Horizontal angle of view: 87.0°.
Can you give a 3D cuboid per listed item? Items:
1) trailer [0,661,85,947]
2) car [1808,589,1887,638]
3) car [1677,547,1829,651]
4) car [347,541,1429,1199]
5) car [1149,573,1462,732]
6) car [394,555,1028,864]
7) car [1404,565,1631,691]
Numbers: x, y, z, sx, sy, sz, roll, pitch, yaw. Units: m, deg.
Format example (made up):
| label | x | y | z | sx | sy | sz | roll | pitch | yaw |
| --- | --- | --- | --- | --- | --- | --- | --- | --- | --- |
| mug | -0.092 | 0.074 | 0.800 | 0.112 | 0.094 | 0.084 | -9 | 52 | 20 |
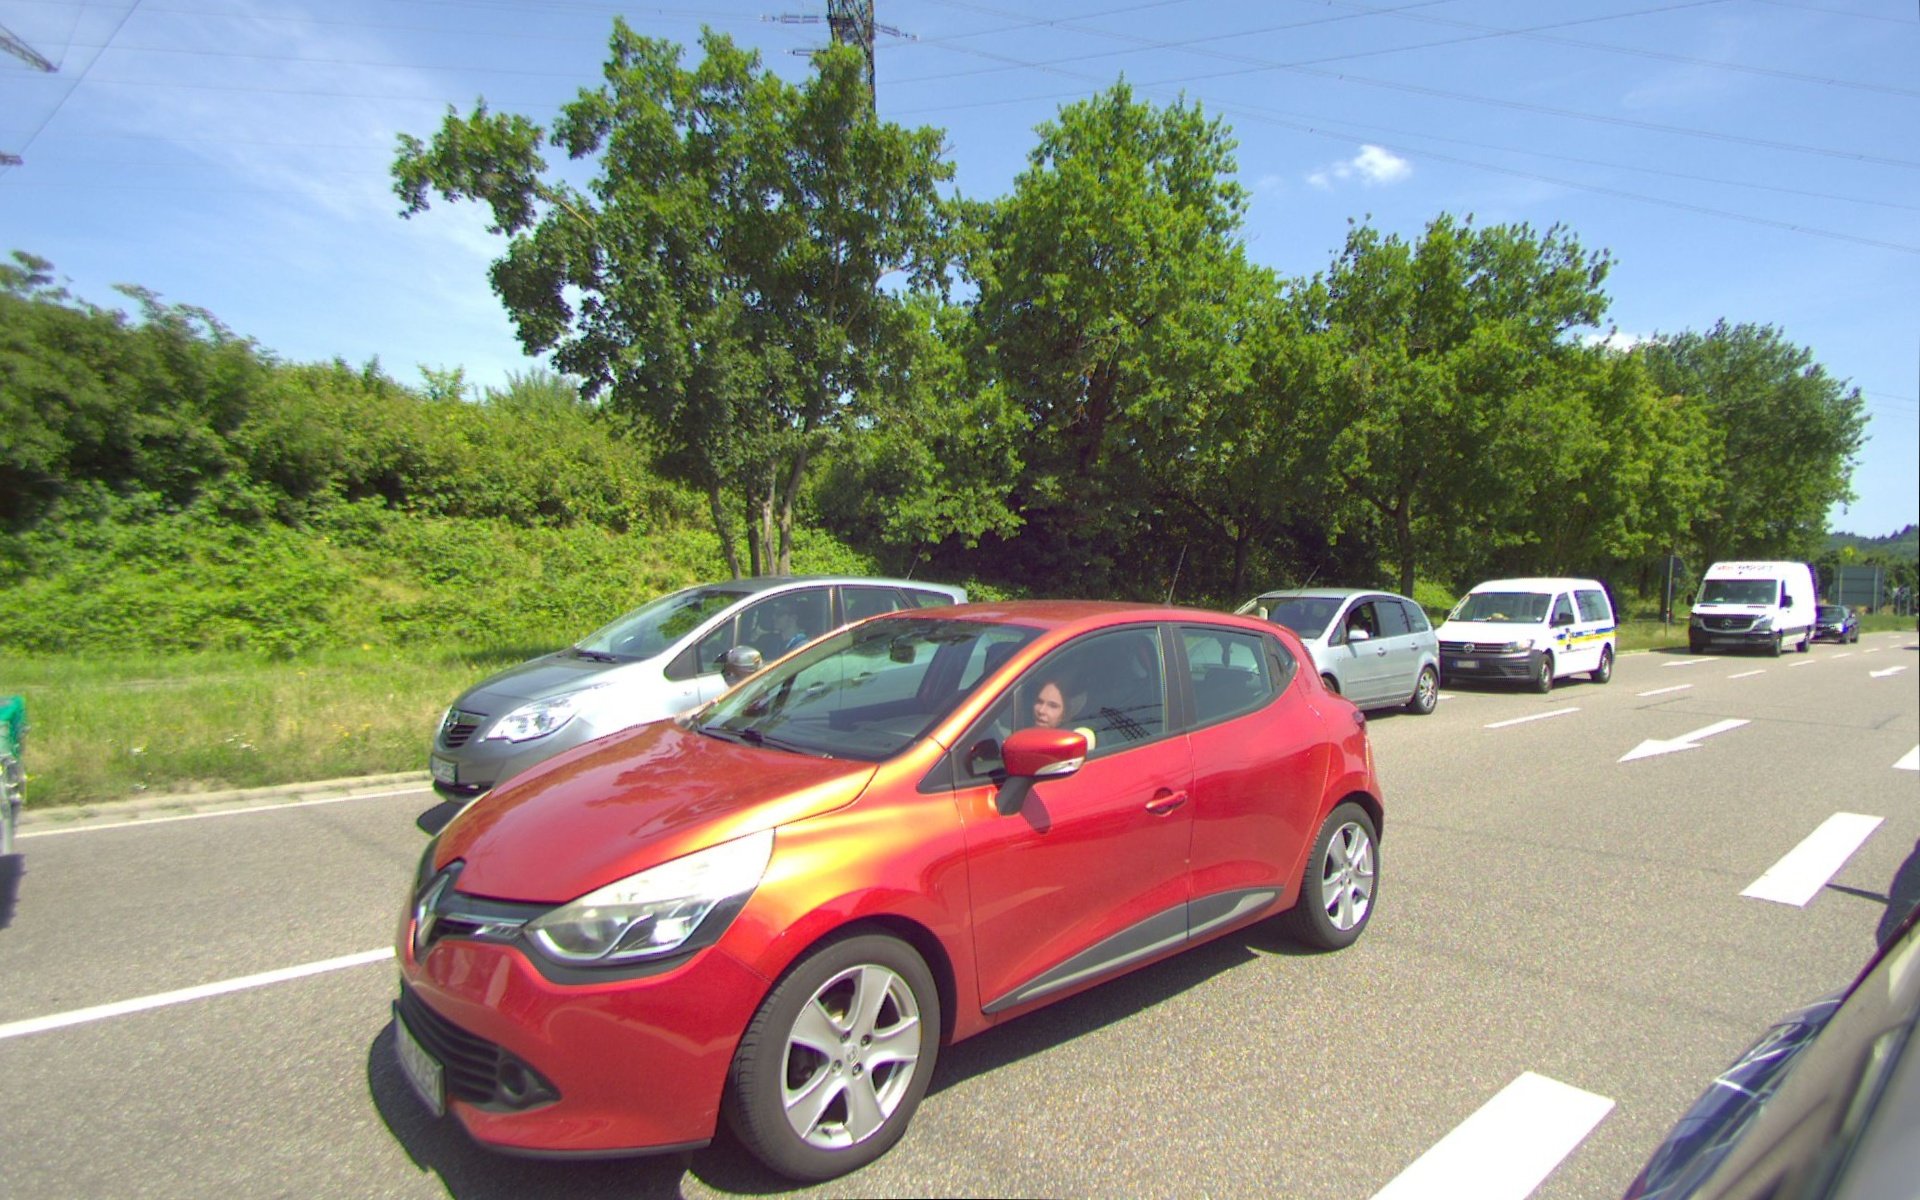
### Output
| label | x | y | z | sx | sy | sz | roll | pitch | yaw |
| --- | --- | --- | --- | --- | --- | --- | --- | --- | --- |
| trailer | -5.382 | 0.848 | 3.713 | 3.266 | 1.019 | 1.709 | 0 | 0 | -41 |
| car | 33.159 | 0.464 | 37.789 | 3.933 | 1.705 | 1.875 | -1 | 1 | -43 |
| car | 22.772 | -0.036 | 28.913 | 6.897 | 2.640 | 2.230 | 0 | 0 | -42 |
| car | 0.072 | 0.619 | 3.955 | 3.994 | 1.480 | 1.746 | 0 | 0 | -41 |
| car | 4.317 | 0.525 | 12.318 | 4.197 | 1.614 | 1.746 | 0 | 0 | -41 |
| car | -1.590 | 0.554 | 7.307 | 4.092 | 1.615 | 1.768 | 0 | 1 | -41 |
| car | 9.486 | 0.399 | 17.009 | 4.950 | 1.823 | 1.807 | 0 | 0 | -42 |
